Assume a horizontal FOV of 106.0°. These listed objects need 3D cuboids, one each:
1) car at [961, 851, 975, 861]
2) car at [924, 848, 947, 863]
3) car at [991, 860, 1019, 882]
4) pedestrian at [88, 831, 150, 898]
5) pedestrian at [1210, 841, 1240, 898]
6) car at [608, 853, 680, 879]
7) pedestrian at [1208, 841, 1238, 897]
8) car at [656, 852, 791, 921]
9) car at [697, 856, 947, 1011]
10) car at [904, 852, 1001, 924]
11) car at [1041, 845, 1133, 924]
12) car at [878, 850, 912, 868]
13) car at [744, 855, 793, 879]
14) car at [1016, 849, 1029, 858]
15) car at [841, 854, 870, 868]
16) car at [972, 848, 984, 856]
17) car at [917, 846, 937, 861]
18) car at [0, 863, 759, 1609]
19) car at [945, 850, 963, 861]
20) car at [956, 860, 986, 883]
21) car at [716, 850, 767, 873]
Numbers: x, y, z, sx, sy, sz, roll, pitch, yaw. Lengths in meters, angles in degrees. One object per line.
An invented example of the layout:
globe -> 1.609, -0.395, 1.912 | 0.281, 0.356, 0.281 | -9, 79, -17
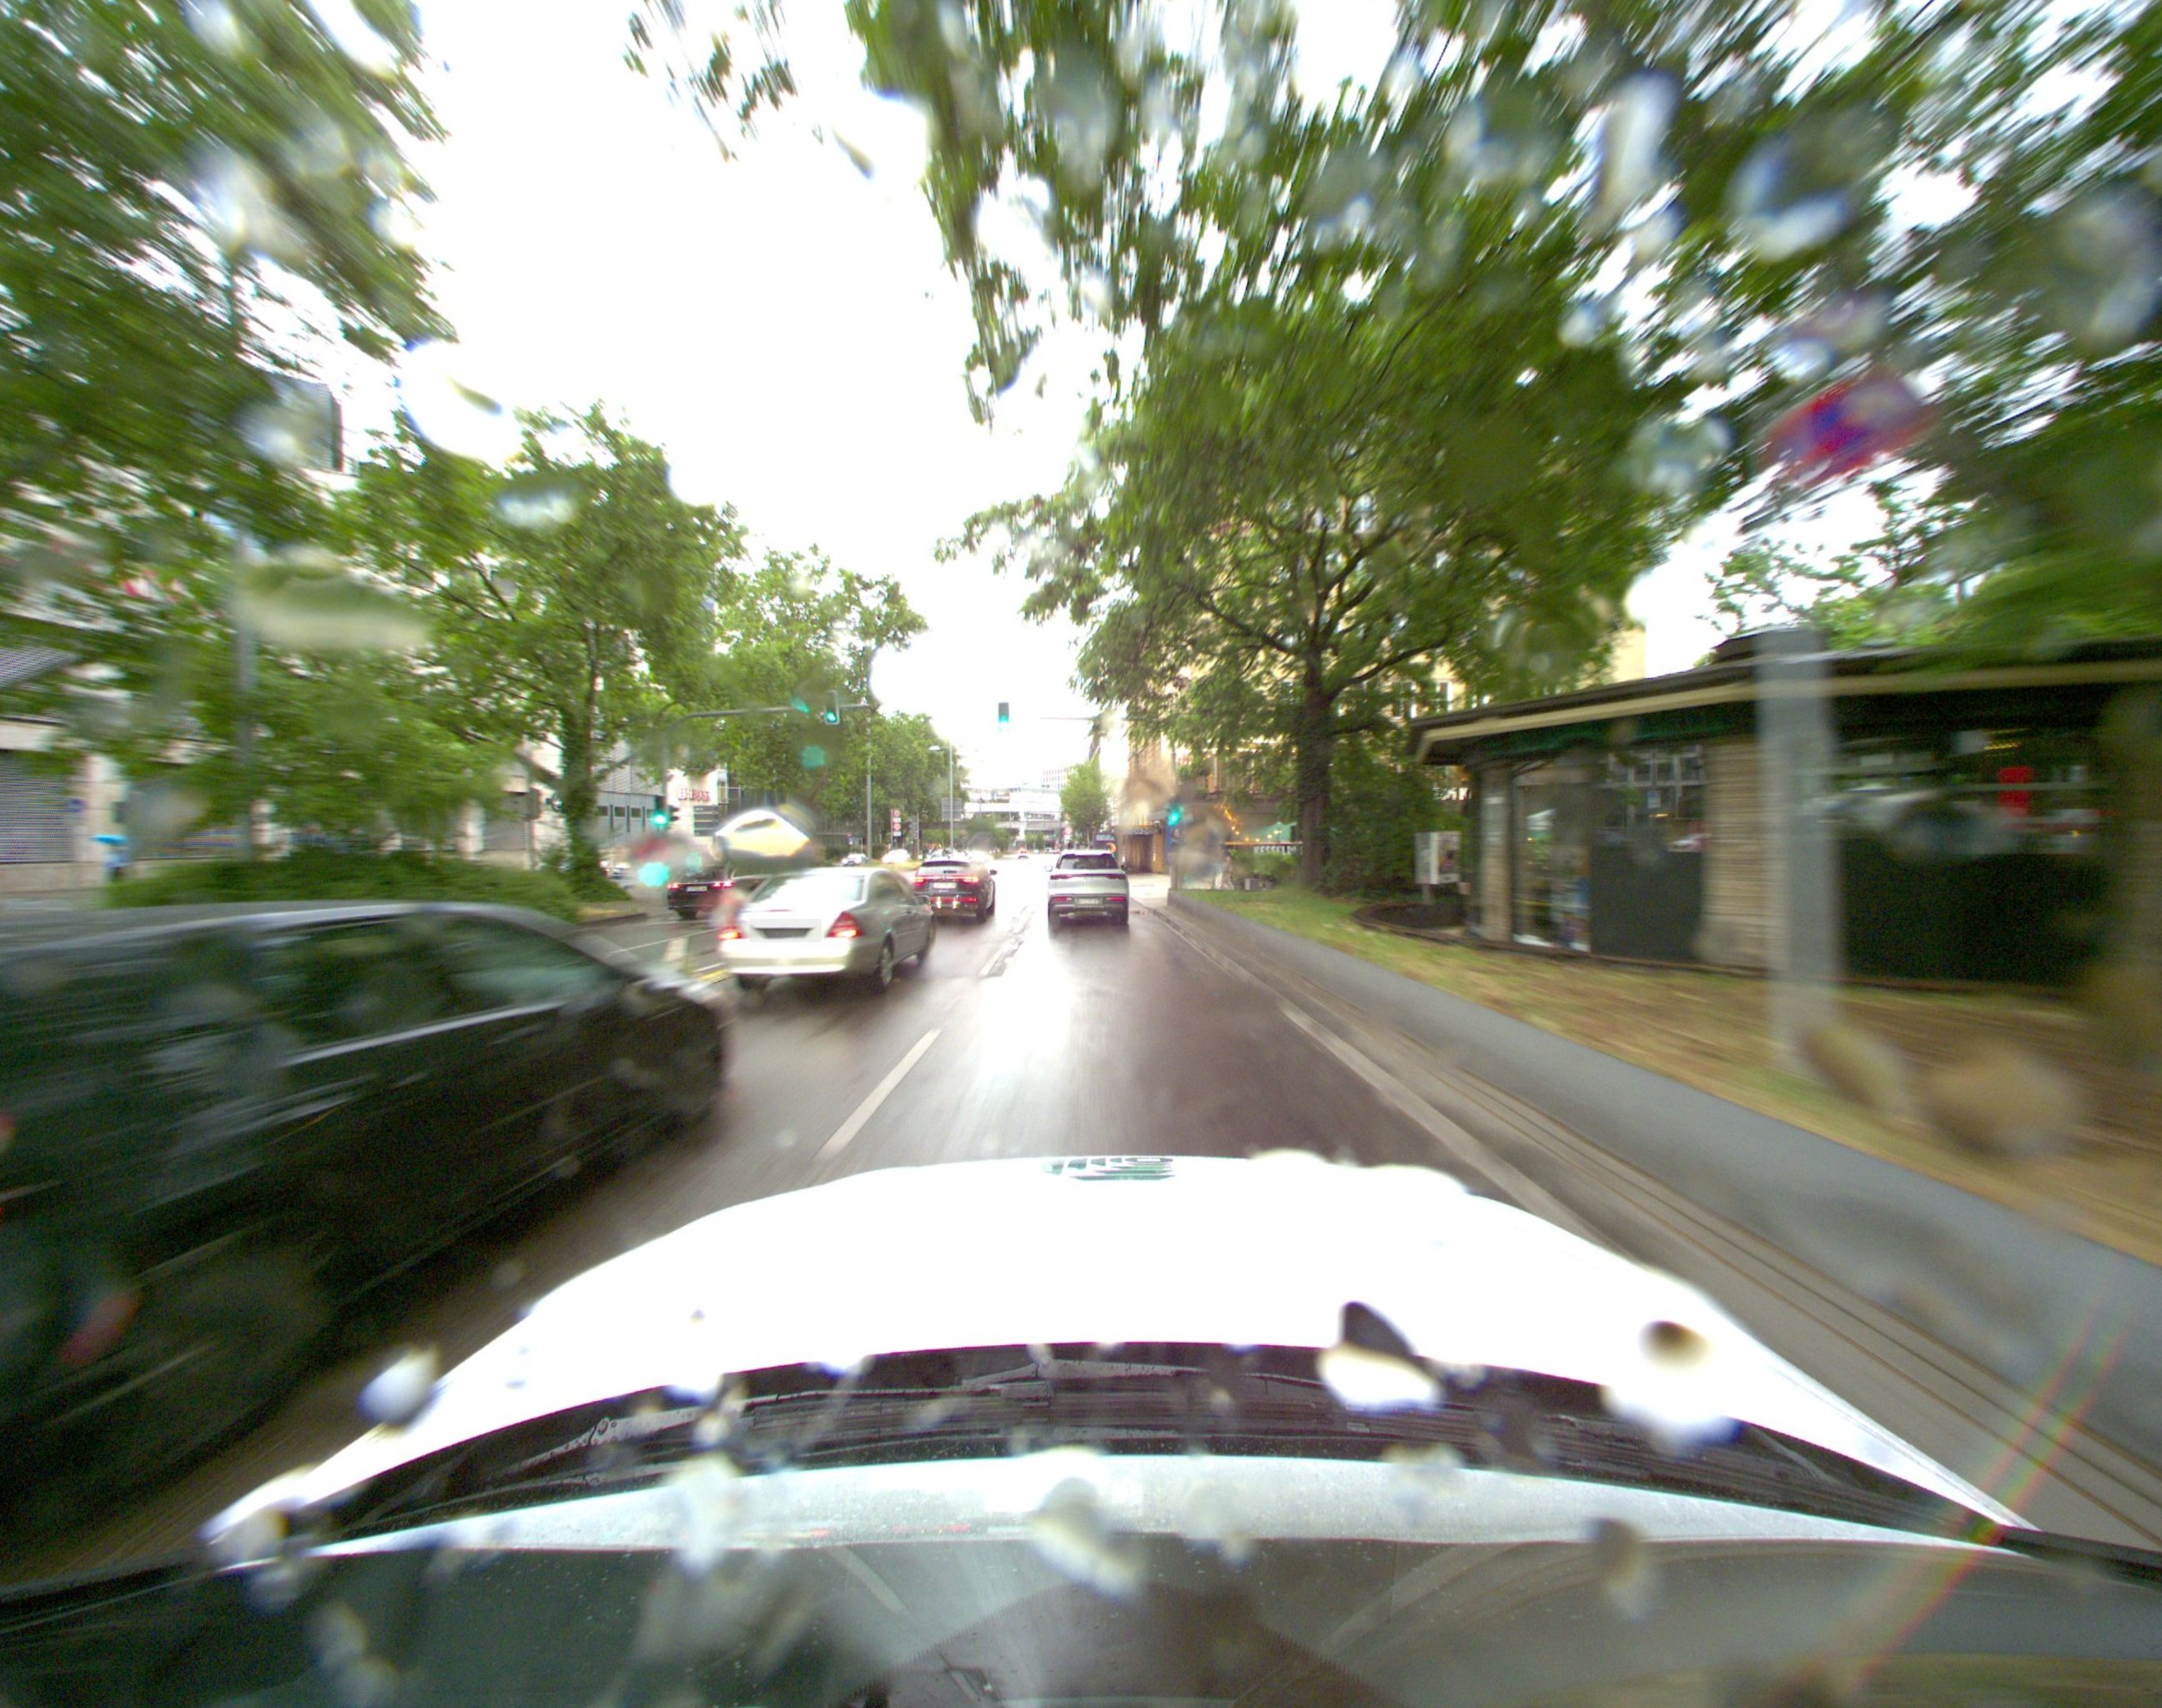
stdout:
car -> -18.409, 0.246, 132.806 | 1.789, 1.510, 4.342 | -2, 0, -2
car -> -16.519, 0.149, 92.676 | 1.789, 1.510, 4.497 | -2, 0, -2
car -> -5.559, 1.210, 60.139 | 1.686, 1.463, 4.343 | -2, 0, -2
pedestrian -> -29.649, 0.319, 25.115 | 0.783, 2.013, 0.946 | 1, 1, -3
pedestrian -> 4.518, 0.484, 25.547 | 0.855, 1.780, 0.718 | -1, 0, 4
car -> -25.755, 0.683, 48.197 | 1.680, 1.403, 4.245 | -1, 0, 5
pedestrian -> 4.577, 0.485, 26.313 | 0.855, 1.780, 0.718 | -1, 0, 4
car -> -9.346, 0.776, 21.654 | 1.693, 1.619, 4.001 | -1, 1, 1
car -> -3.005, 0.819, 10.482 | 1.685, 1.463, 4.346 | -2, 0, 1
car -> -2.944, 0.717, 19.539 | 1.686, 1.463, 4.343 | -2, 0, -2
car -> 0.177, 0.634, 19.363 | 1.940, 1.666, 4.346 | 0, 0, 1
car -> -16.517, 0.408, 72.529 | 2.153, 1.463, 4.342 | -2, 0, -2
car -> -22.000, 0.858, 57.483 | 1.789, 1.510, 4.497 | -2, 0, -2
car -> -10.179, -0.153, 142.173 | 1.973, 1.463, 4.342 | -2, 0, -2
car -> -22.763, 0.700, 82.233 | 1.843, 1.366, 4.236 | 0, 0, -2
car -> -19.539, -0.394, 154.448 | 1.789, 1.510, 4.342 | -2, 0, -2
car -> -20.341, -0.046, 107.745 | 1.789, 1.909, 4.497 | -2, 0, -2
car -> -3.047, 0.836, 3.321 | 1.685, 1.463, 4.131 | -2, 0, 1
car -> -17.279, 0.198, 111.212 | 1.789, 1.510, 4.497 | -2, 0, -2
car -> -8.051, 1.266, 59.905 | 1.686, 1.463, 4.343 | -2, 0, -2
car -> -25.529, 0.542, 61.400 | 1.680, 1.642, 4.245 | -1, 0, 5
